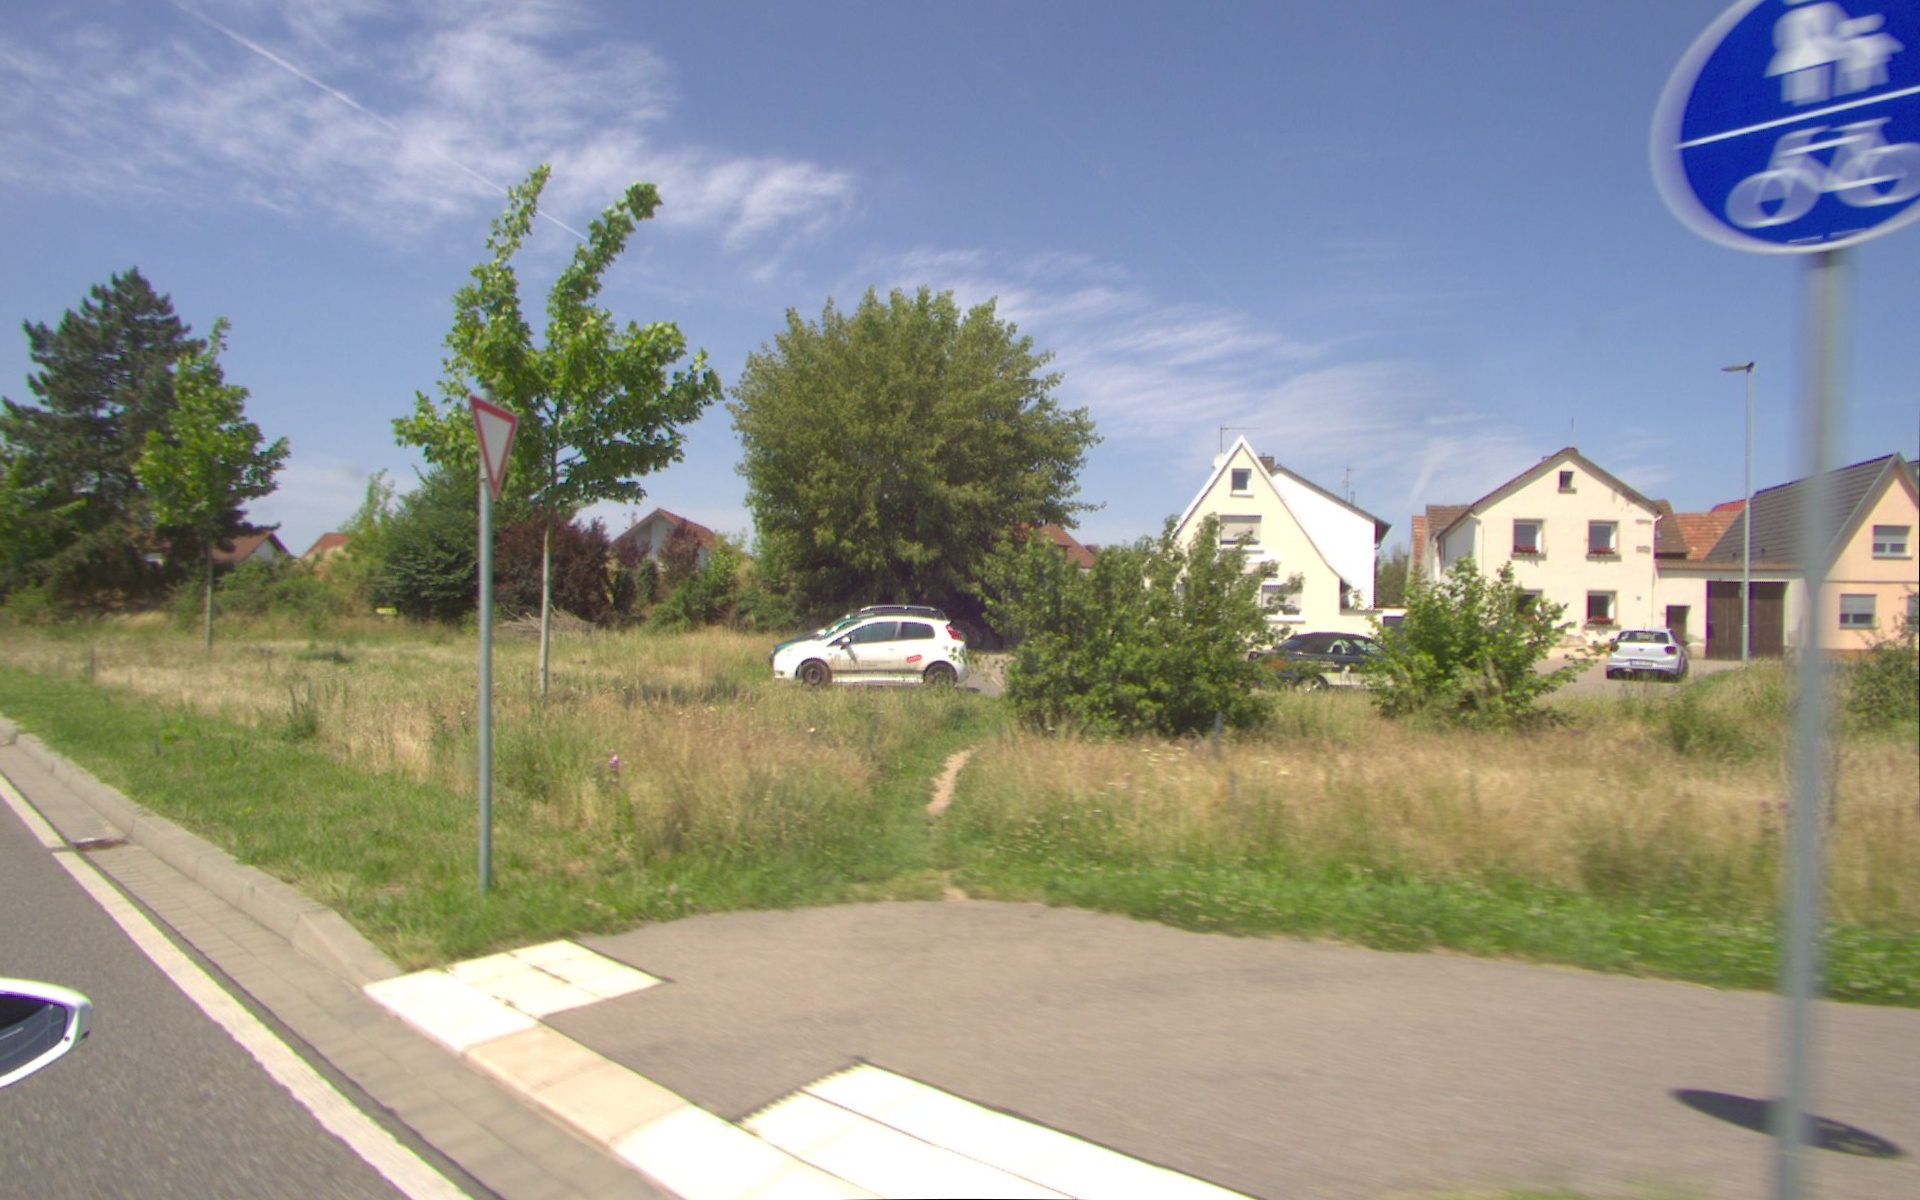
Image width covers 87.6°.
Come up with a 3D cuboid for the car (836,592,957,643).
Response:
[{"bbox_3d":[-2.095,0.584,33.374,3.890,1.461,1.774,3,-1,-3],"label":"car"}]

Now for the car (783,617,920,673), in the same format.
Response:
[{"bbox_3d":[-3.189,1.314,29.925,3.890,1.461,1.774,3,-1,-3],"label":"car"}]

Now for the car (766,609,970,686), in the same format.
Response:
[{"bbox_3d":[-1.838,0.945,20.342,3.923,1.446,1.747,1,-1,-4],"label":"car"}]

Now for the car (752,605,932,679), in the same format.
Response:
[{"bbox_3d":[-2.608,0.936,22.902,3.890,1.461,1.774,3,-1,-2],"label":"car"}]

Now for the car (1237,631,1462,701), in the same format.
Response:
[{"bbox_3d":[7.899,1.326,20.472,3.924,1.328,1.746,1,-1,-9],"label":"car"}]

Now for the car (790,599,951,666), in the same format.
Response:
[{"bbox_3d":[-2.211,0.821,25.473,3.890,1.461,1.774,3,-1,-2],"label":"car"}]

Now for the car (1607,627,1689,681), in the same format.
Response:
[{"bbox_3d":[19.671,1.493,28.558,1.631,1.411,3.971,0,-1,39],"label":"car"}]

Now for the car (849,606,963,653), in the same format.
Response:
[{"bbox_3d":[-1.917,1.046,35.646,3.890,1.461,1.774,3,-1,-3],"label":"car"}]
